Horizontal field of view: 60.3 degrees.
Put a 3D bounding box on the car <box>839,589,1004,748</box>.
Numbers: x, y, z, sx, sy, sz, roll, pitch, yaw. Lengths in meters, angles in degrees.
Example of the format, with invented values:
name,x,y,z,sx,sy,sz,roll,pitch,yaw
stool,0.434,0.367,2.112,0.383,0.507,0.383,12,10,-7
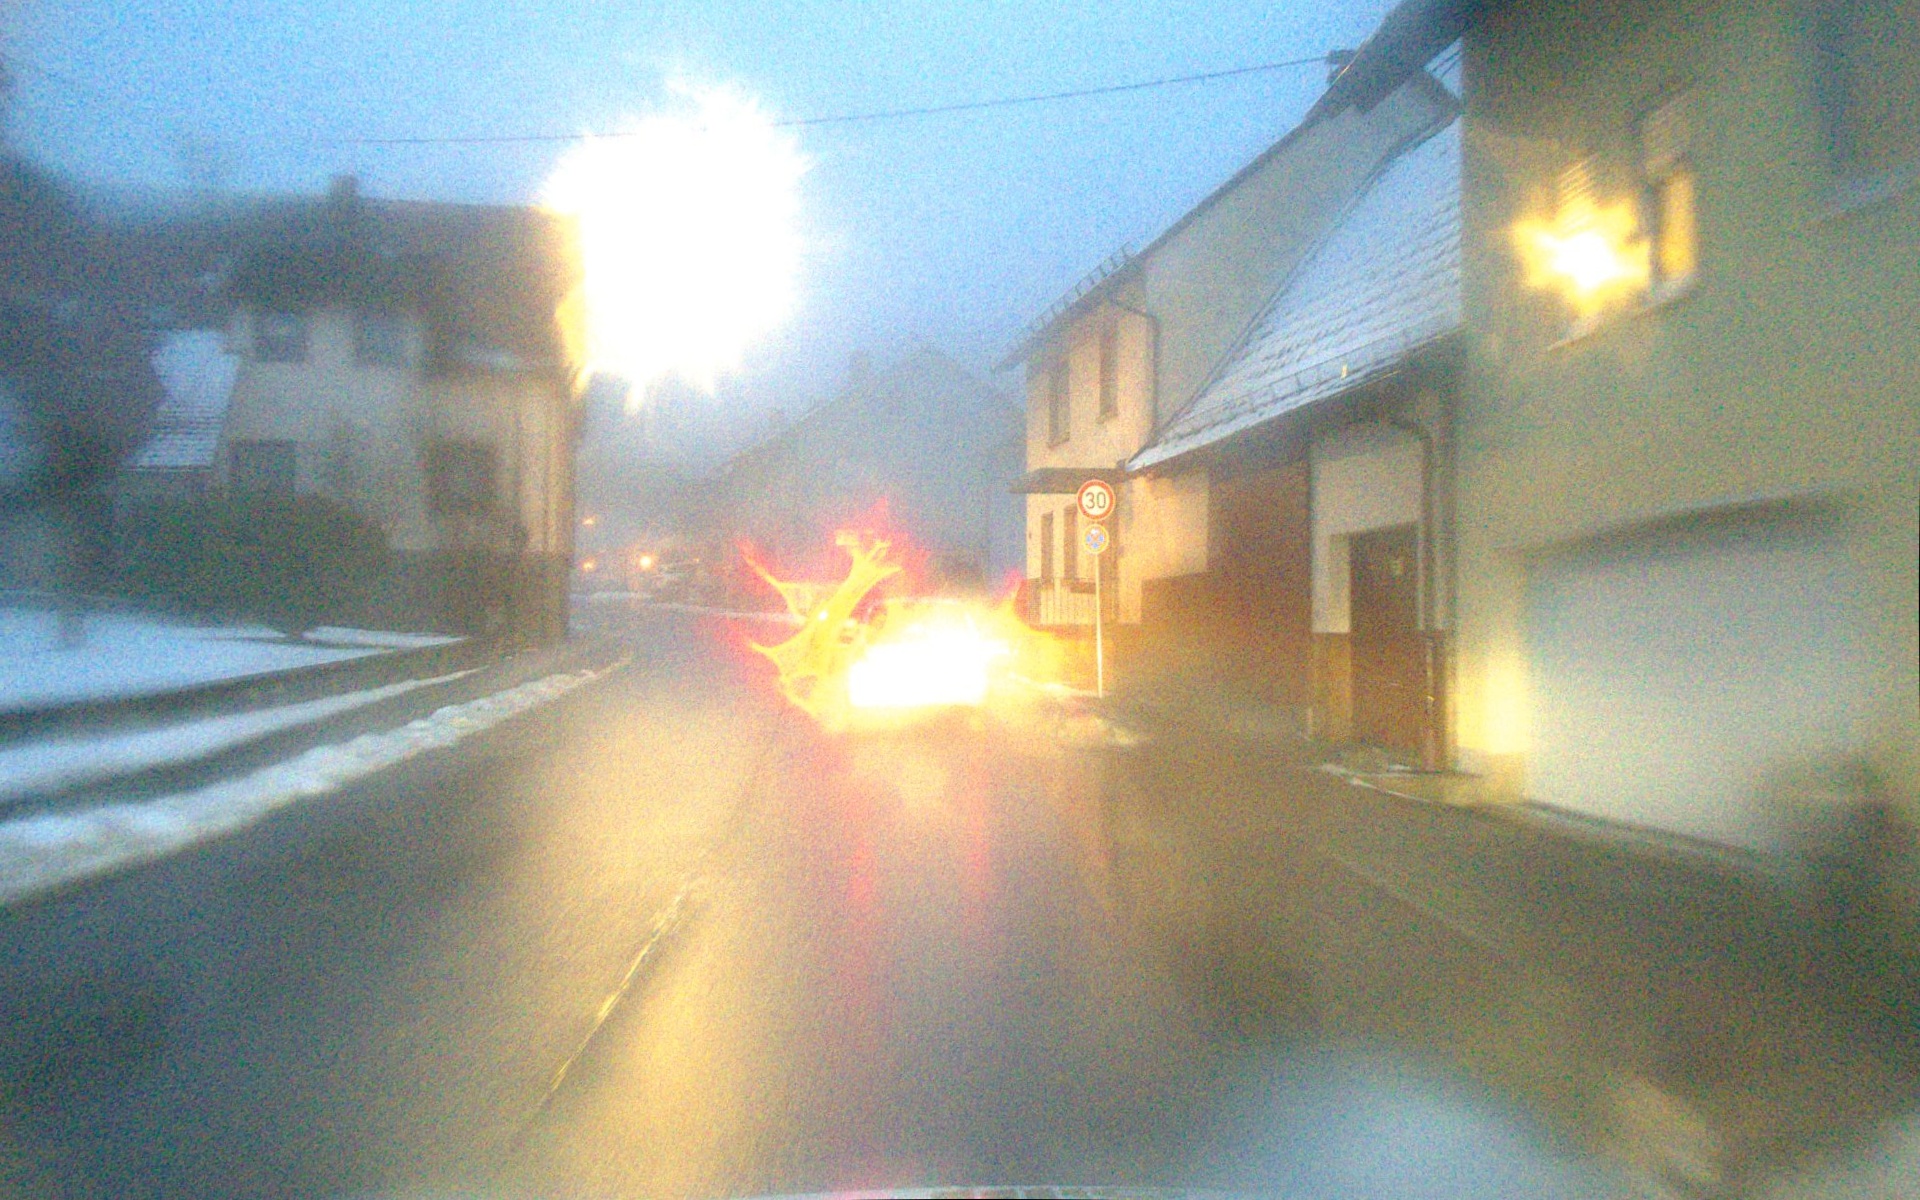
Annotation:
name,x,y,z,sx,sy,sz,roll,pitch,yaw
car,-0.536,0.767,19.308,1.613,1.624,3.694,2,-2,-6

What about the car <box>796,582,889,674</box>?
name,x,y,z,sx,sy,sz,roll,pitch,yaw
car,-2.318,0.552,31.981,1.614,1.624,3.694,2,-2,-6
